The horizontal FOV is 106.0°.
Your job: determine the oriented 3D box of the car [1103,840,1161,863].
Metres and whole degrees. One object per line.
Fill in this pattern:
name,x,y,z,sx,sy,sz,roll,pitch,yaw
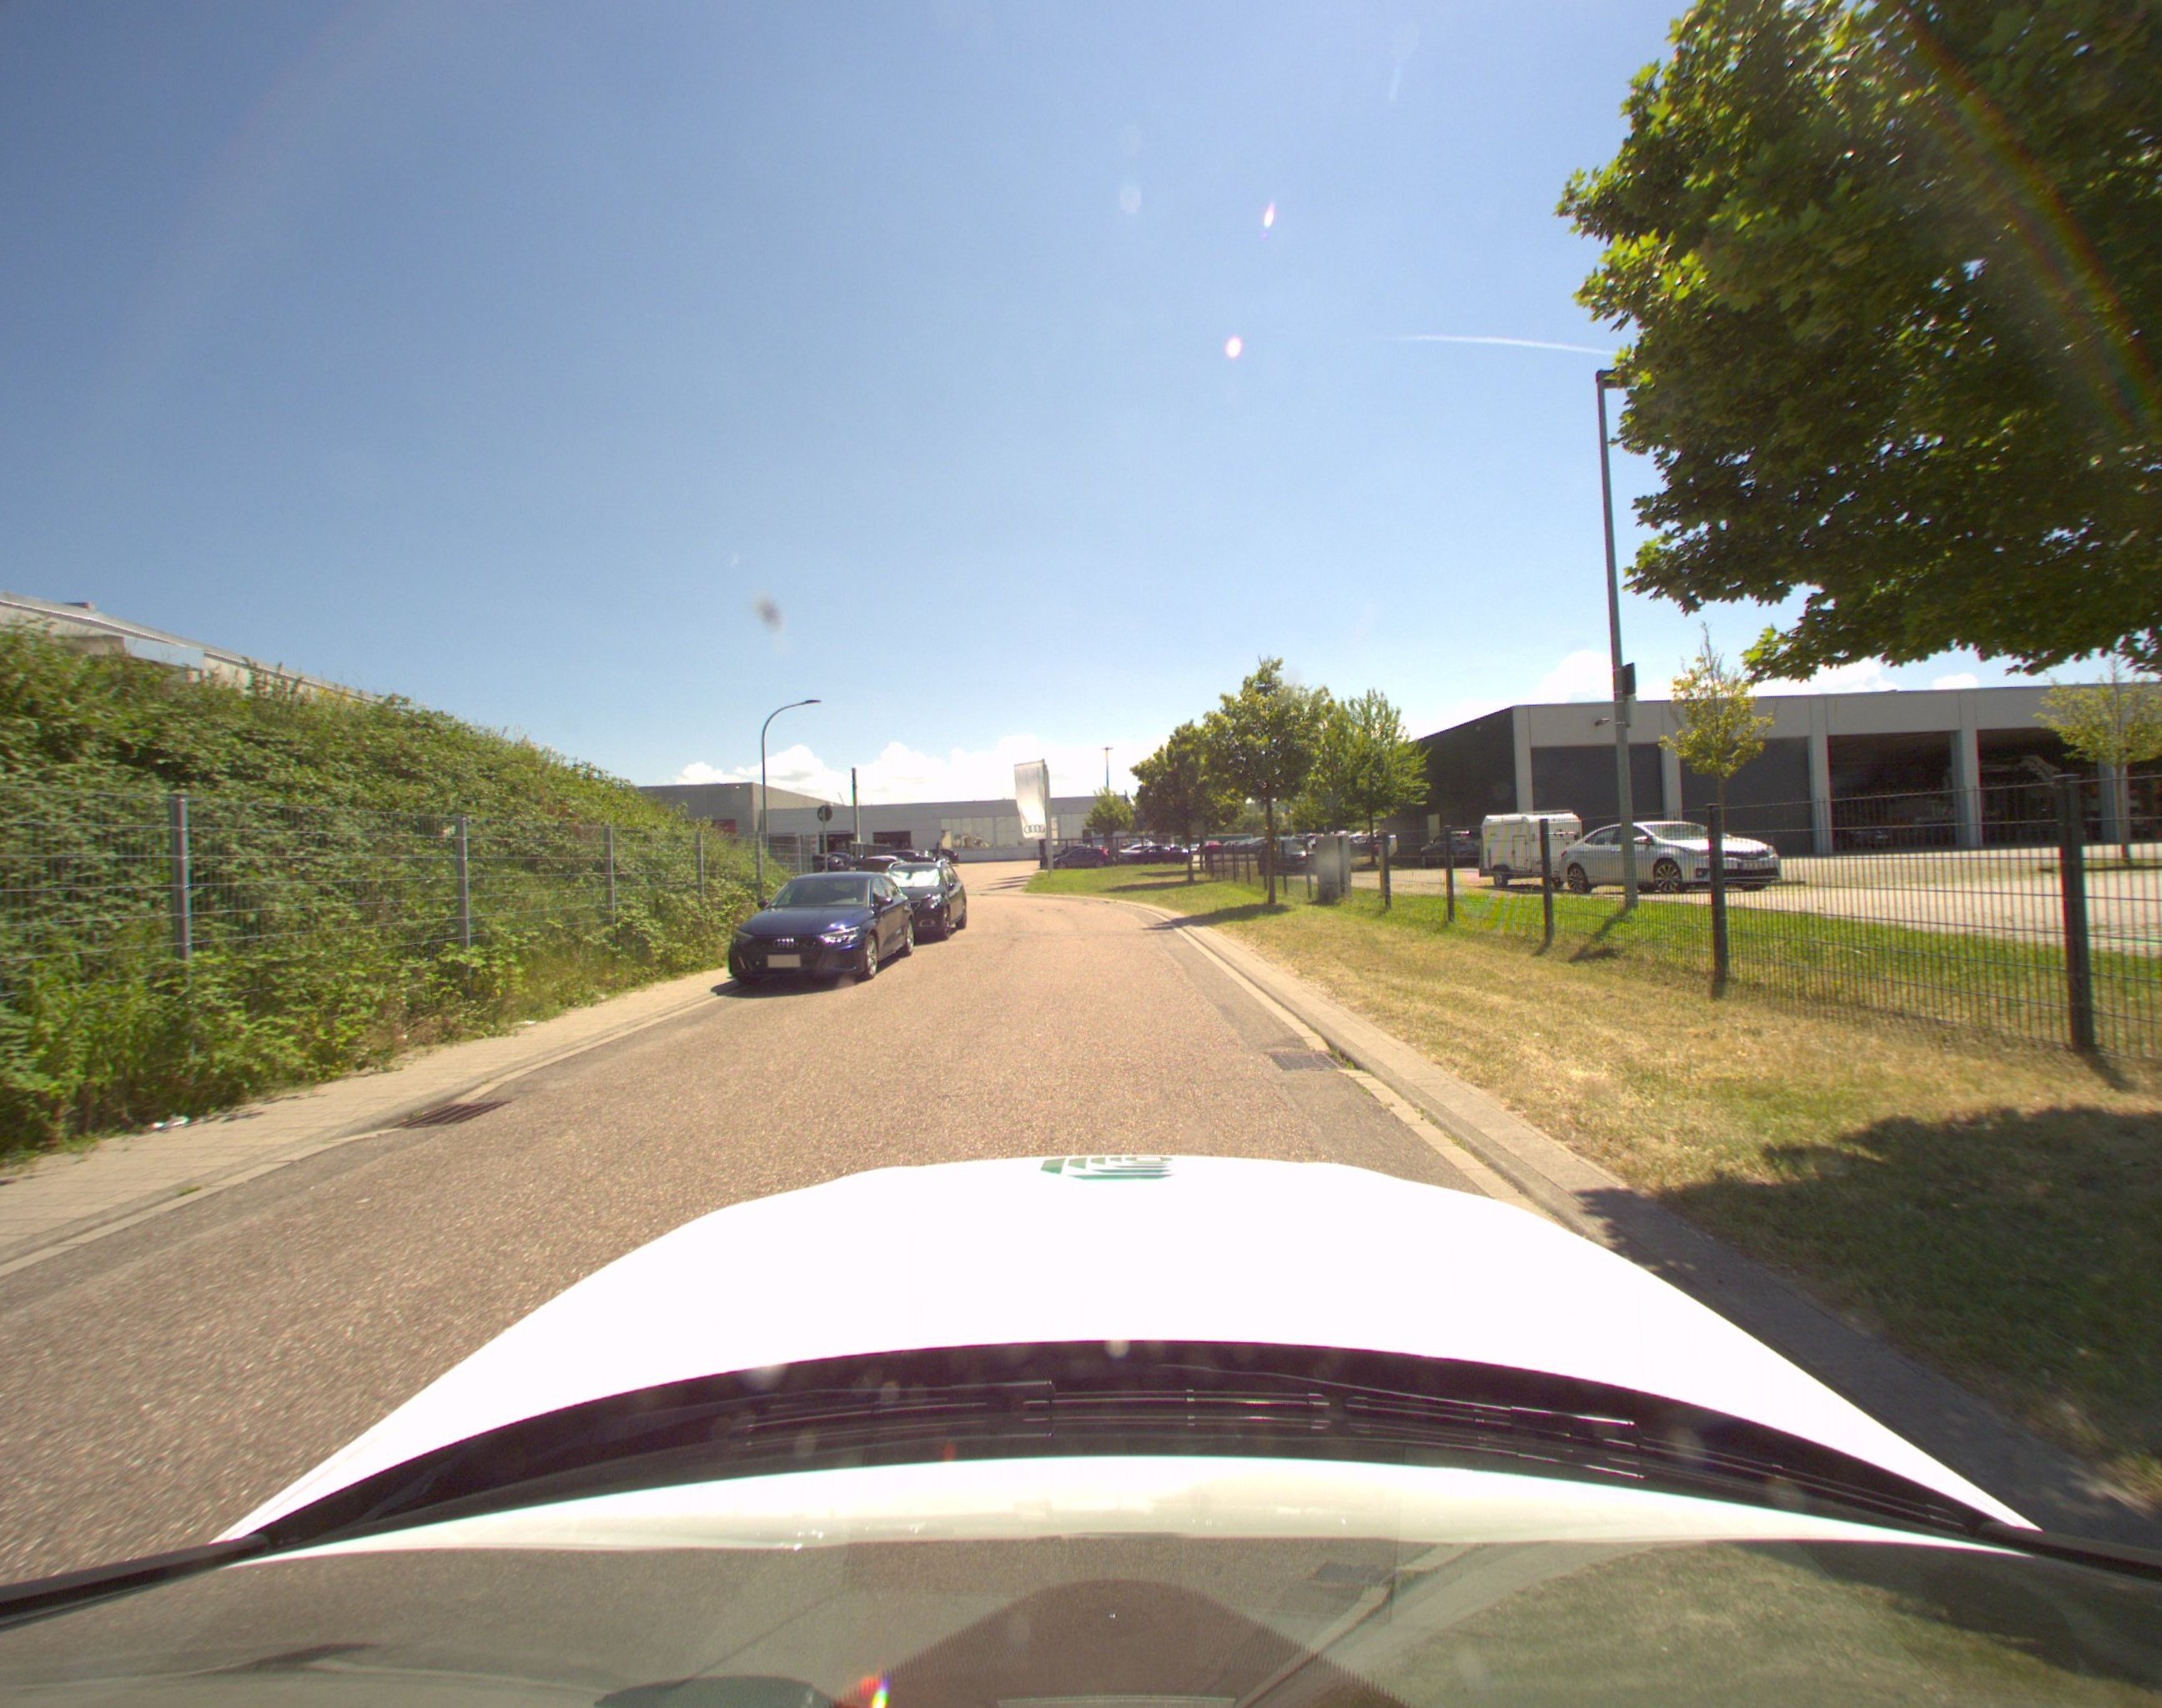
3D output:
car,3.642,-0.171,58.915,3.976,1.398,1.998,-3,-2,-2

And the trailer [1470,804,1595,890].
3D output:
trailer,11.712,-0.241,21.352,1.487,2.006,3.266,-3,2,2

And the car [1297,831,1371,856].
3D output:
car,17.398,-0.710,56.100,4.426,1.398,1.998,-3,-2,-2

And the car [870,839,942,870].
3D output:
car,-12.430,0.055,58.111,4.572,1.922,2.000,-3,0,-1

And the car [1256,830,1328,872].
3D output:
car,8.482,-0.105,33.032,1.732,1.522,3.892,-3,0,-2

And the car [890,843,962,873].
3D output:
car,-11.417,0.319,60.210,4.868,1.922,2.000,-3,0,-1

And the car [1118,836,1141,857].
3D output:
car,4.887,-0.715,82.547,1.987,1.827,3.999,-3,-2,0

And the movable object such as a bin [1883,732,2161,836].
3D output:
movable object such as a bin,43.380,-2.984,37.828,3.530,3.974,8.663,-3,0,-1

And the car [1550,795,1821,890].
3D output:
car,11.681,-0.104,16.223,1.876,1.523,4.463,-3,-3,-2

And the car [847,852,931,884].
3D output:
car,-11.357,0.837,48.390,4.426,1.626,1.998,-3,-2,-2

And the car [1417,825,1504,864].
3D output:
car,15.527,-0.391,33.552,1.731,1.407,3.695,-3,0,-1

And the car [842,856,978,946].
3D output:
car,-3.429,0.882,17.150,1.827,1.546,4.265,-3,0,1

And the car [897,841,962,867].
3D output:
car,-12.500,0.001,67.492,4.868,1.922,2.000,-3,0,-1

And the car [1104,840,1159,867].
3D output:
car,3.797,-0.025,62.232,3.976,1.827,1.998,-3,-2,-2

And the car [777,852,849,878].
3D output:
car,-18.977,0.800,57.773,4.426,1.626,1.998,-3,-2,-2

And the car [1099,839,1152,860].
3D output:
car,3.498,-0.382,64.757,3.976,1.398,1.998,-3,-2,-2

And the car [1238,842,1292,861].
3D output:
car,15.521,-0.199,68.836,3.976,1.398,1.998,-3,-2,-2

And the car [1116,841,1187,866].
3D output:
car,4.628,-0.018,53.980,4.426,1.398,1.998,-3,-2,-2

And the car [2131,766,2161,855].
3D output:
car,28.698,-1.294,18.570,1.876,2.263,5.650,-3,-3,-2

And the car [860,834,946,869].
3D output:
car,-12.189,-0.155,55.966,5.301,2.097,2.000,-3,0,-1

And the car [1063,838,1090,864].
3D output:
car,-0.378,-0.207,64.191,1.988,1.827,3.997,-3,-2,-2

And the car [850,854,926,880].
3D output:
car,-12.574,0.859,53.262,4.426,1.398,1.998,-3,-2,-2

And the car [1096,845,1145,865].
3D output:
car,3.259,0.105,67.868,3.976,1.398,1.998,-3,-2,-2

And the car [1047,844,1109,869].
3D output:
car,-0.203,0.163,54.136,3.976,1.398,1.998,-3,-2,-2

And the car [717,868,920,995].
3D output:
car,-3.605,0.976,12.007,1.651,1.417,4.143,-3,0,-1

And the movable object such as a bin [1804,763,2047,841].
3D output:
movable object such as a bin,38.582,-2.229,37.725,3.530,2.994,7.316,-3,0,-1

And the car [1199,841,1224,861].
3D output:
car,13.786,-0.323,86.225,1.987,1.827,3.999,-3,-2,0
